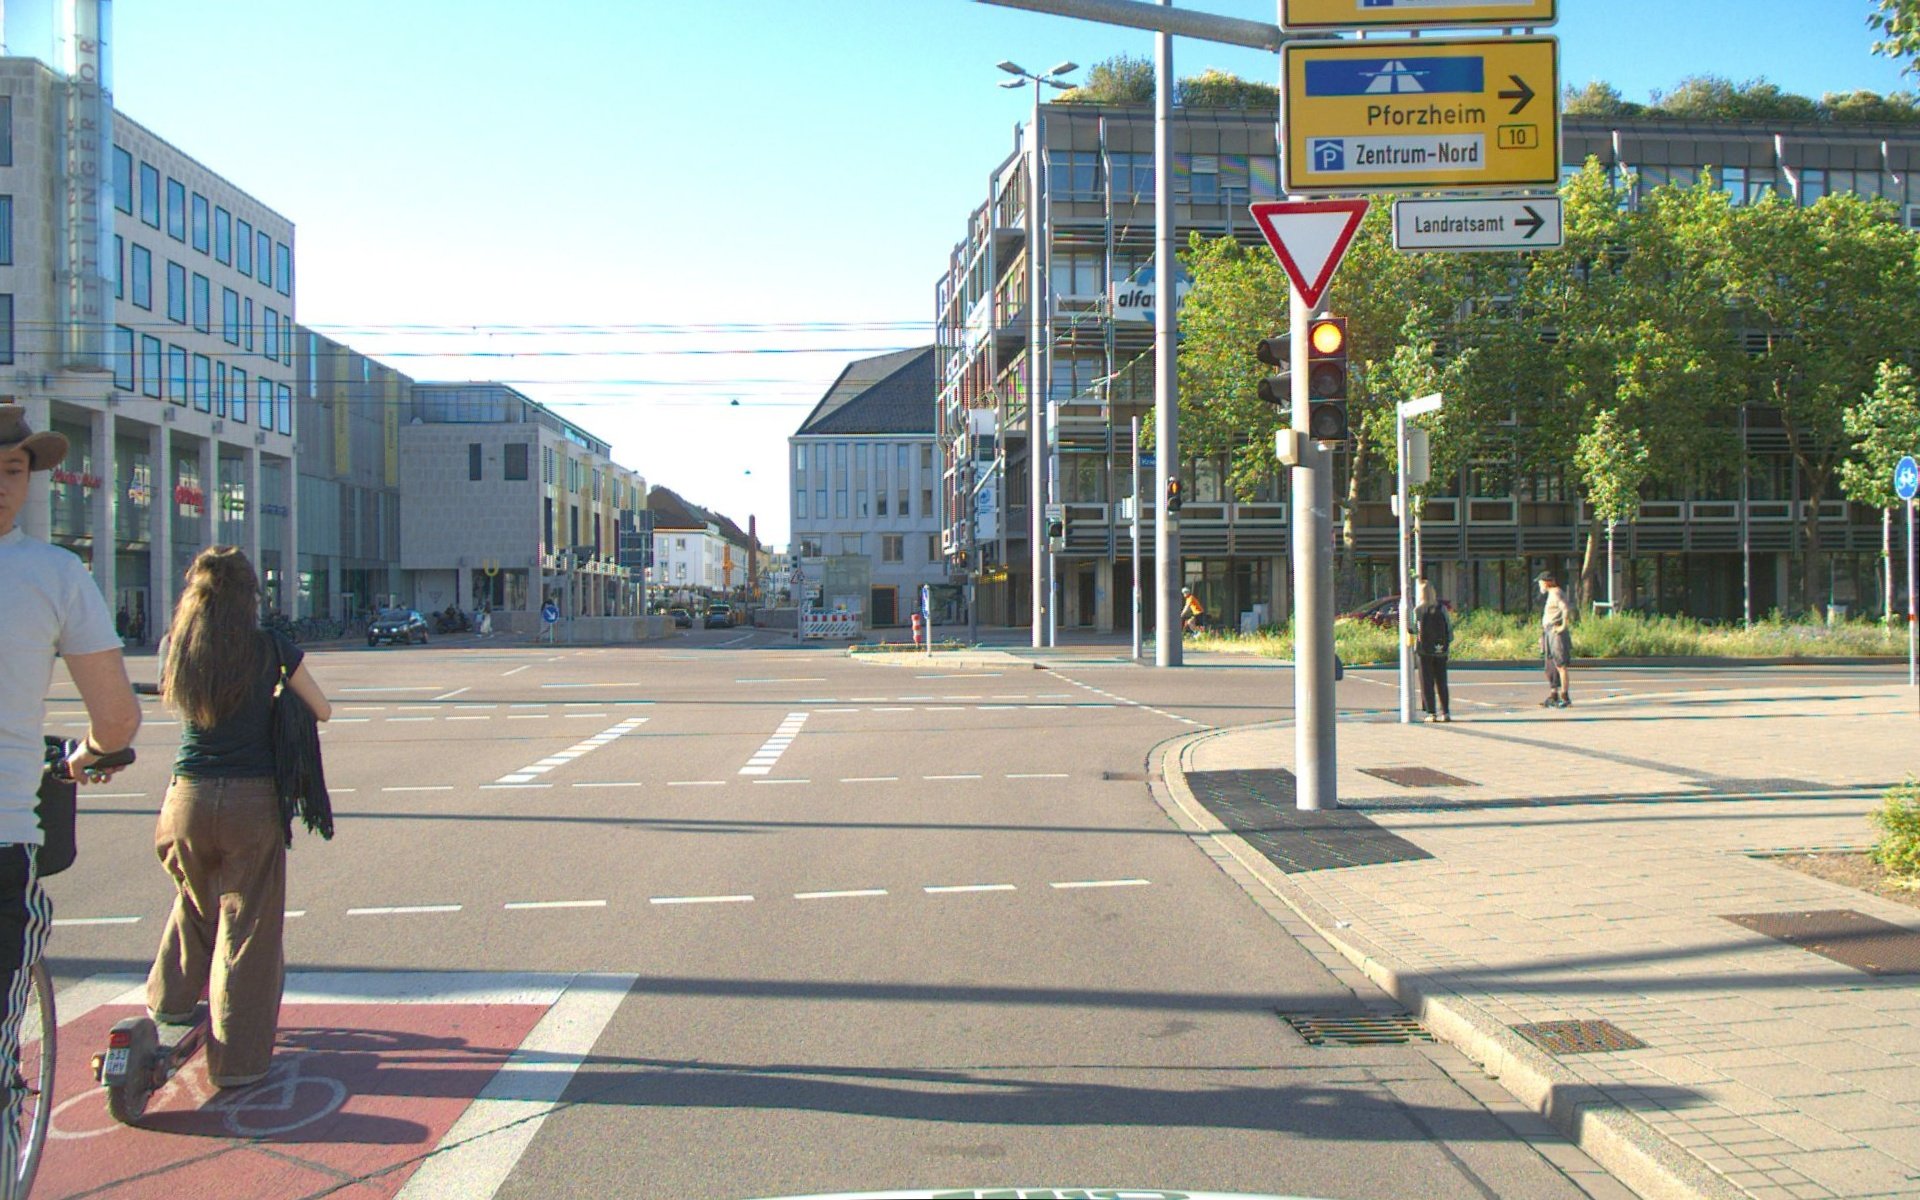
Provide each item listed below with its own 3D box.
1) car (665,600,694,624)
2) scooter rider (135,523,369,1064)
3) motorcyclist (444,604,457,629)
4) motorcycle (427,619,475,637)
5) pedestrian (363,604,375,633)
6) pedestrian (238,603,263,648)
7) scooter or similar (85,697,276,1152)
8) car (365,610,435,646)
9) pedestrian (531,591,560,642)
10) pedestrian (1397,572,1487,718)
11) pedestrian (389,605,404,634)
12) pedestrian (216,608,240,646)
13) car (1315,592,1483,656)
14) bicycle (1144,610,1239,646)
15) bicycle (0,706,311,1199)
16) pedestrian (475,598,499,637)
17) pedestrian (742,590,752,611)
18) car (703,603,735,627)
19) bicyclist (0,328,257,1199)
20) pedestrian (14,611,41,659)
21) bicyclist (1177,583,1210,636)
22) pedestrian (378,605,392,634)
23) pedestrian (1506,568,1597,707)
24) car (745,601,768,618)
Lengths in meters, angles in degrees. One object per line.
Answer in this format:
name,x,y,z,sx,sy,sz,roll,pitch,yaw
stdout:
car,-20.839,0.862,122.960,1.784,1.713,3.995,-1,0,-6
scooter rider,-2.133,0.554,5.026,0.542,1.556,0.448,-1,0,-9
motorcyclist,-30.150,0.983,97.868,0.616,1.430,0.661,1,-1,-9
motorcycle,-30.035,1.632,97.708,2.555,1.010,1.113,1,0,-10
pedestrian,-36.185,1.148,101.303,0.462,1.759,0.518,0,-1,38
pedestrian,-27.388,0.970,63.880,0.685,1.718,0.619,-1,0,0
scooter or similar,-2.209,0.870,4.744,0.301,1.127,0.836,-1,0,-12
car,-23.473,1.151,69.452,1.642,1.381,4.019,-1,0,-2
pedestrian,-15.679,0.627,62.558,0.923,1.897,0.539,-1,0,16
pedestrian,5.555,0.508,19.098,0.750,1.642,0.874,-1,0,-2
pedestrian,-34.383,1.177,100.872,0.462,1.759,0.692,0,-1,37
pedestrian,-32.289,1.200,72.937,0.760,1.667,0.626,-1,0,21
car,12.346,0.648,46.593,4.212,1.713,1.820,-1,0,-11
bicycle,6.602,0.795,47.204,2.517,0.992,1.047,-1,0,-4
bicycle,-1.942,0.850,3.097,0.724,1.167,1.890,0,0,-1
pedestrian,-22.298,0.832,78.030,0.881,1.814,0.808,0,0,-1
pedestrian,-21.149,0.045,164.359,0.892,1.999,0.822,1,-1,-1
car,-15.697,0.960,107.821,1.625,1.484,3.541,-1,0,-1
bicyclist,-1.958,0.402,3.241,0.789,1.730,0.851,0,0,-1
pedestrian,-32.919,1.214,58.406,0.580,1.674,0.629,-1,0,-1
bicyclist,6.669,0.277,47.219,0.806,1.500,0.652,-1,0,-5
pedestrian,-34.843,1.166,100.202,0.462,1.759,0.626,1,-1,33
pedestrian,7.574,0.474,21.212,0.854,1.736,0.768,-1,0,-3
car,-17.904,0.838,145.571,1.625,1.484,3.541,-1,0,-1
